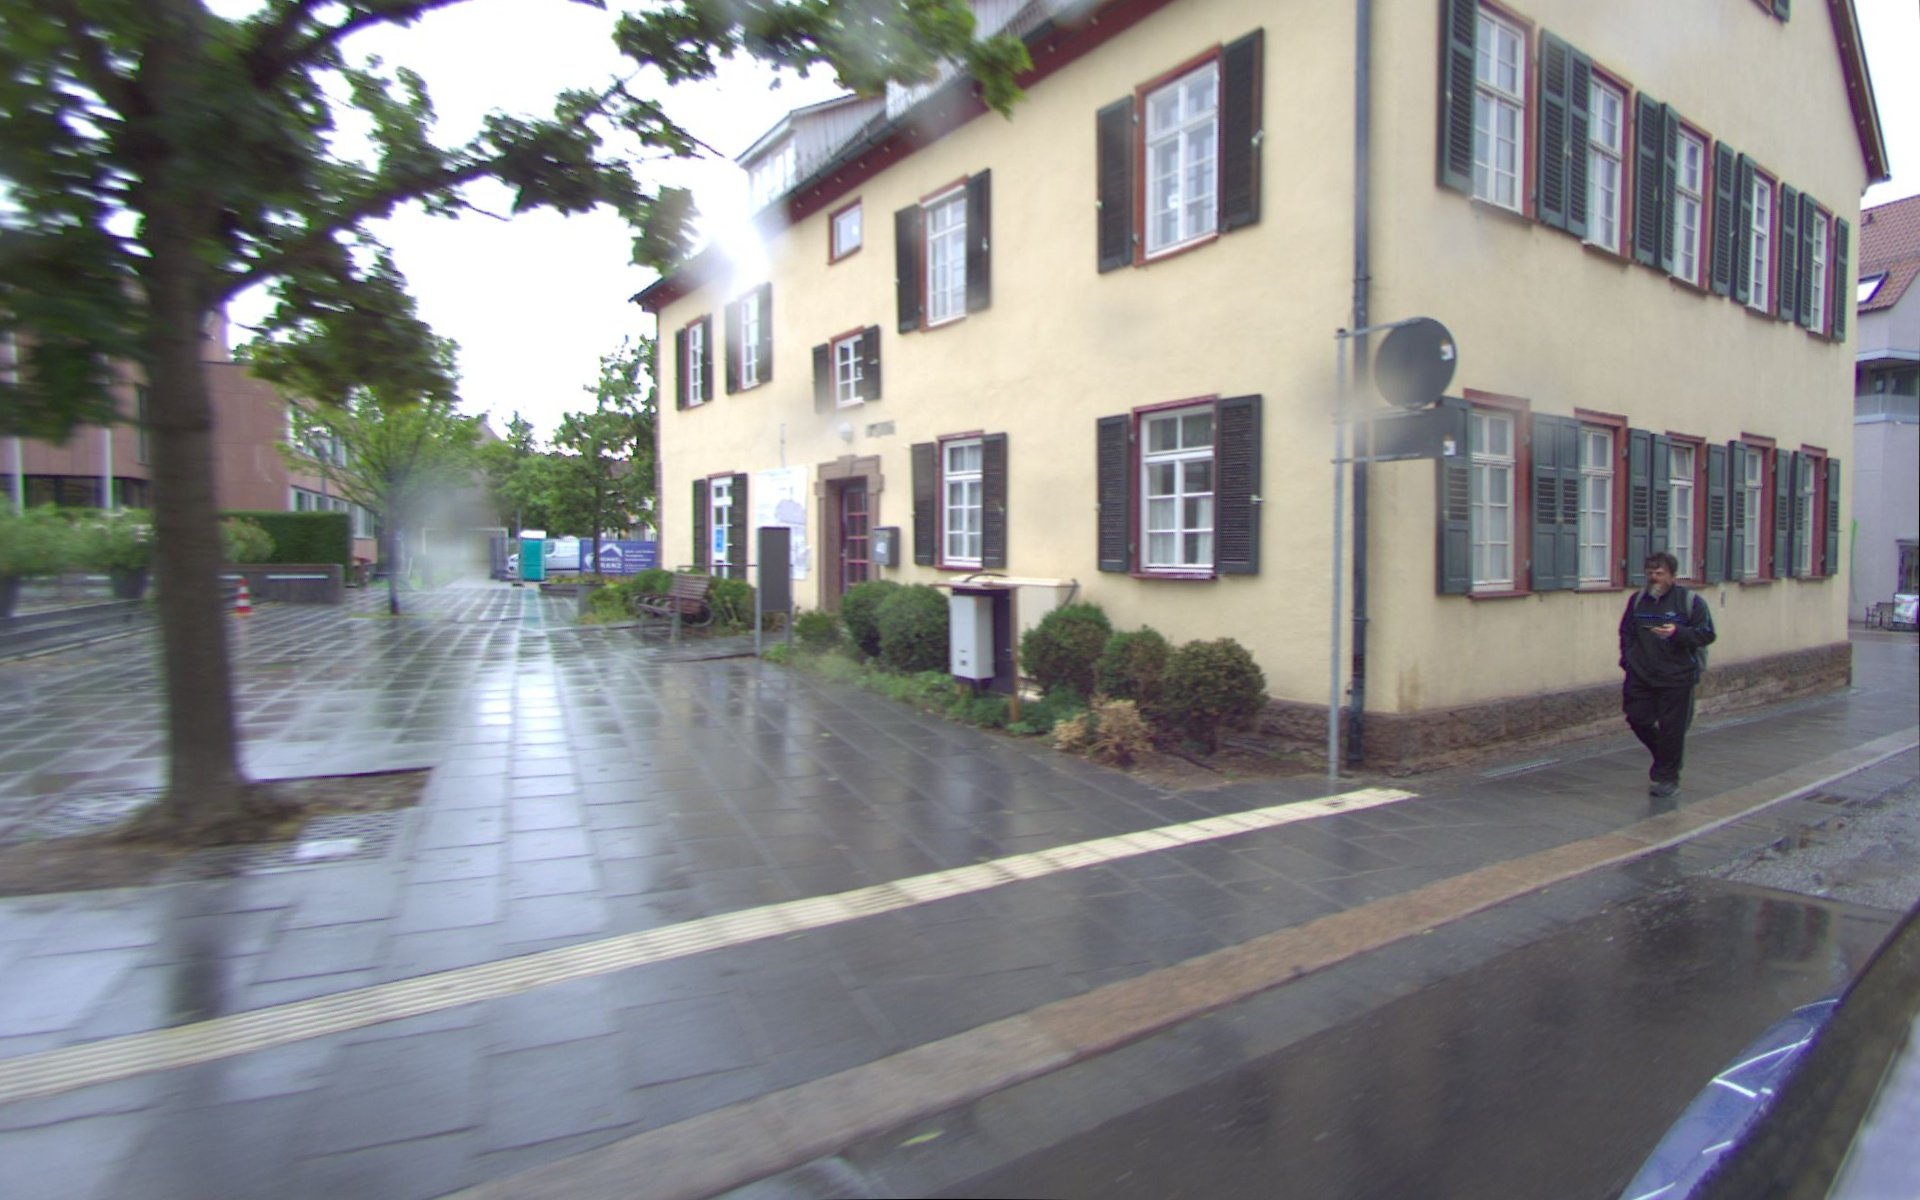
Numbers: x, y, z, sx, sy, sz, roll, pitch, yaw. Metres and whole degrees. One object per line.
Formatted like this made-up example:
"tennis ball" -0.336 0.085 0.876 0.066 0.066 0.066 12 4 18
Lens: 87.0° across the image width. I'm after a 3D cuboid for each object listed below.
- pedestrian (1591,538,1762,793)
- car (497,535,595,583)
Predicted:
"pedestrian" 5.192 0.427 7.342 0.851 1.714 0.716 1 2 -35
"car" -19.951 -1.974 48.741 4.286 2.244 2.005 0 3 -25
